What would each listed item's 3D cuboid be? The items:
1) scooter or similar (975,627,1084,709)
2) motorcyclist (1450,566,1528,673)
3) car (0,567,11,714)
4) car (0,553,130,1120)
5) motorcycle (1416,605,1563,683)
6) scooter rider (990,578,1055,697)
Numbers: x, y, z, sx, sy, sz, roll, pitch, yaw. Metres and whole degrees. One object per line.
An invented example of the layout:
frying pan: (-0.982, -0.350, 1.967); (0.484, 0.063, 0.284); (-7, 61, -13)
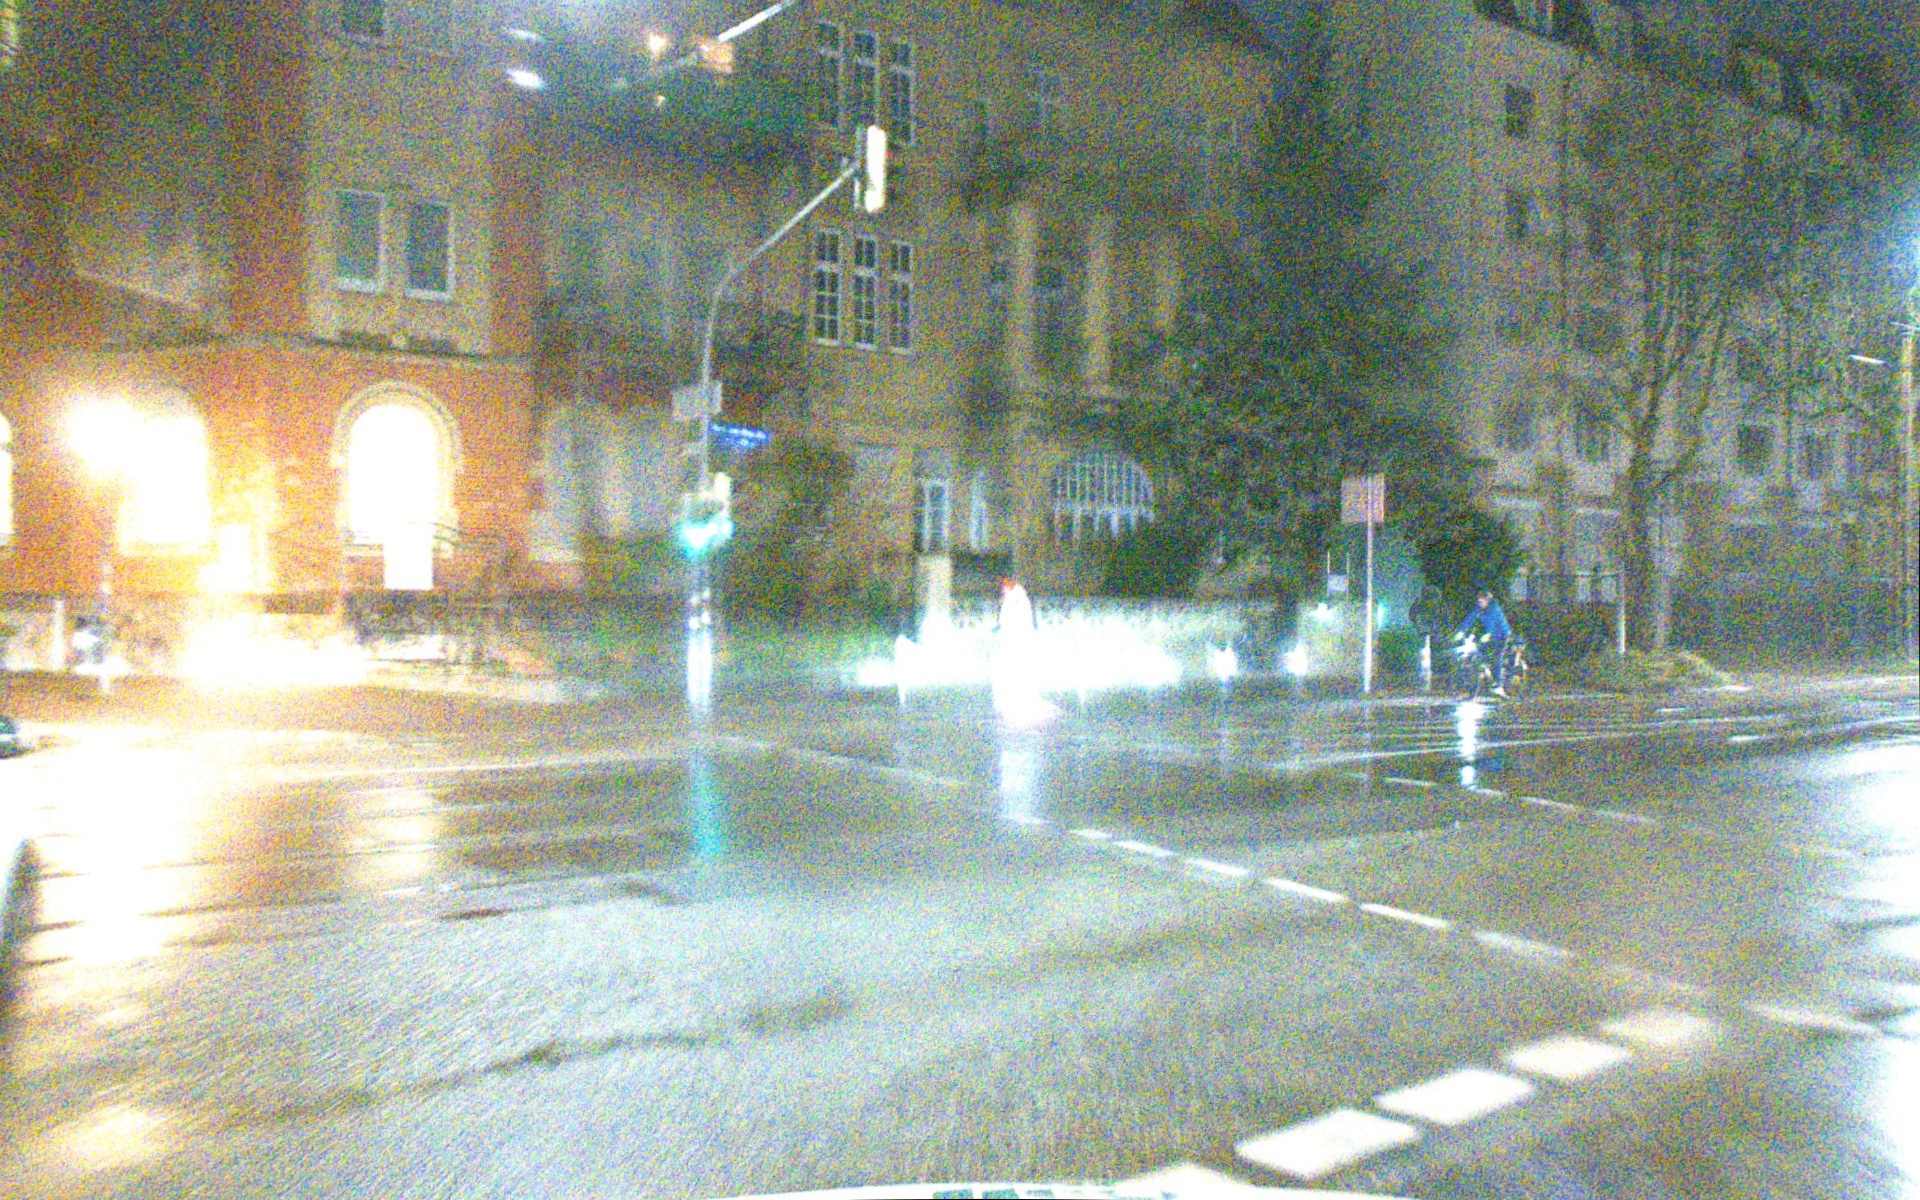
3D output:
scooter or similar: (0.961, 0.930, 22.854); (1.347, 1.070, 0.637); (1, 1, -25)
motorcyclist: (8.817, 0.328, 27.589); (1.007, 1.761, 0.707); (0, -2, -13)
car: (-11.804, 0.483, 18.392); (1.725, 1.770, 3.771); (2, 0, -24)
car: (-3.509, 0.635, 4.233); (1.889, 1.542, 3.580); (1, 0, -17)
motorcycle: (8.818, 0.729, 27.571); (2.278, 1.252, 0.707); (0, -2, -13)
scooter rider: (0.865, 0.514, 22.965); (0.642, 1.600, 0.637); (1, 1, -24)
